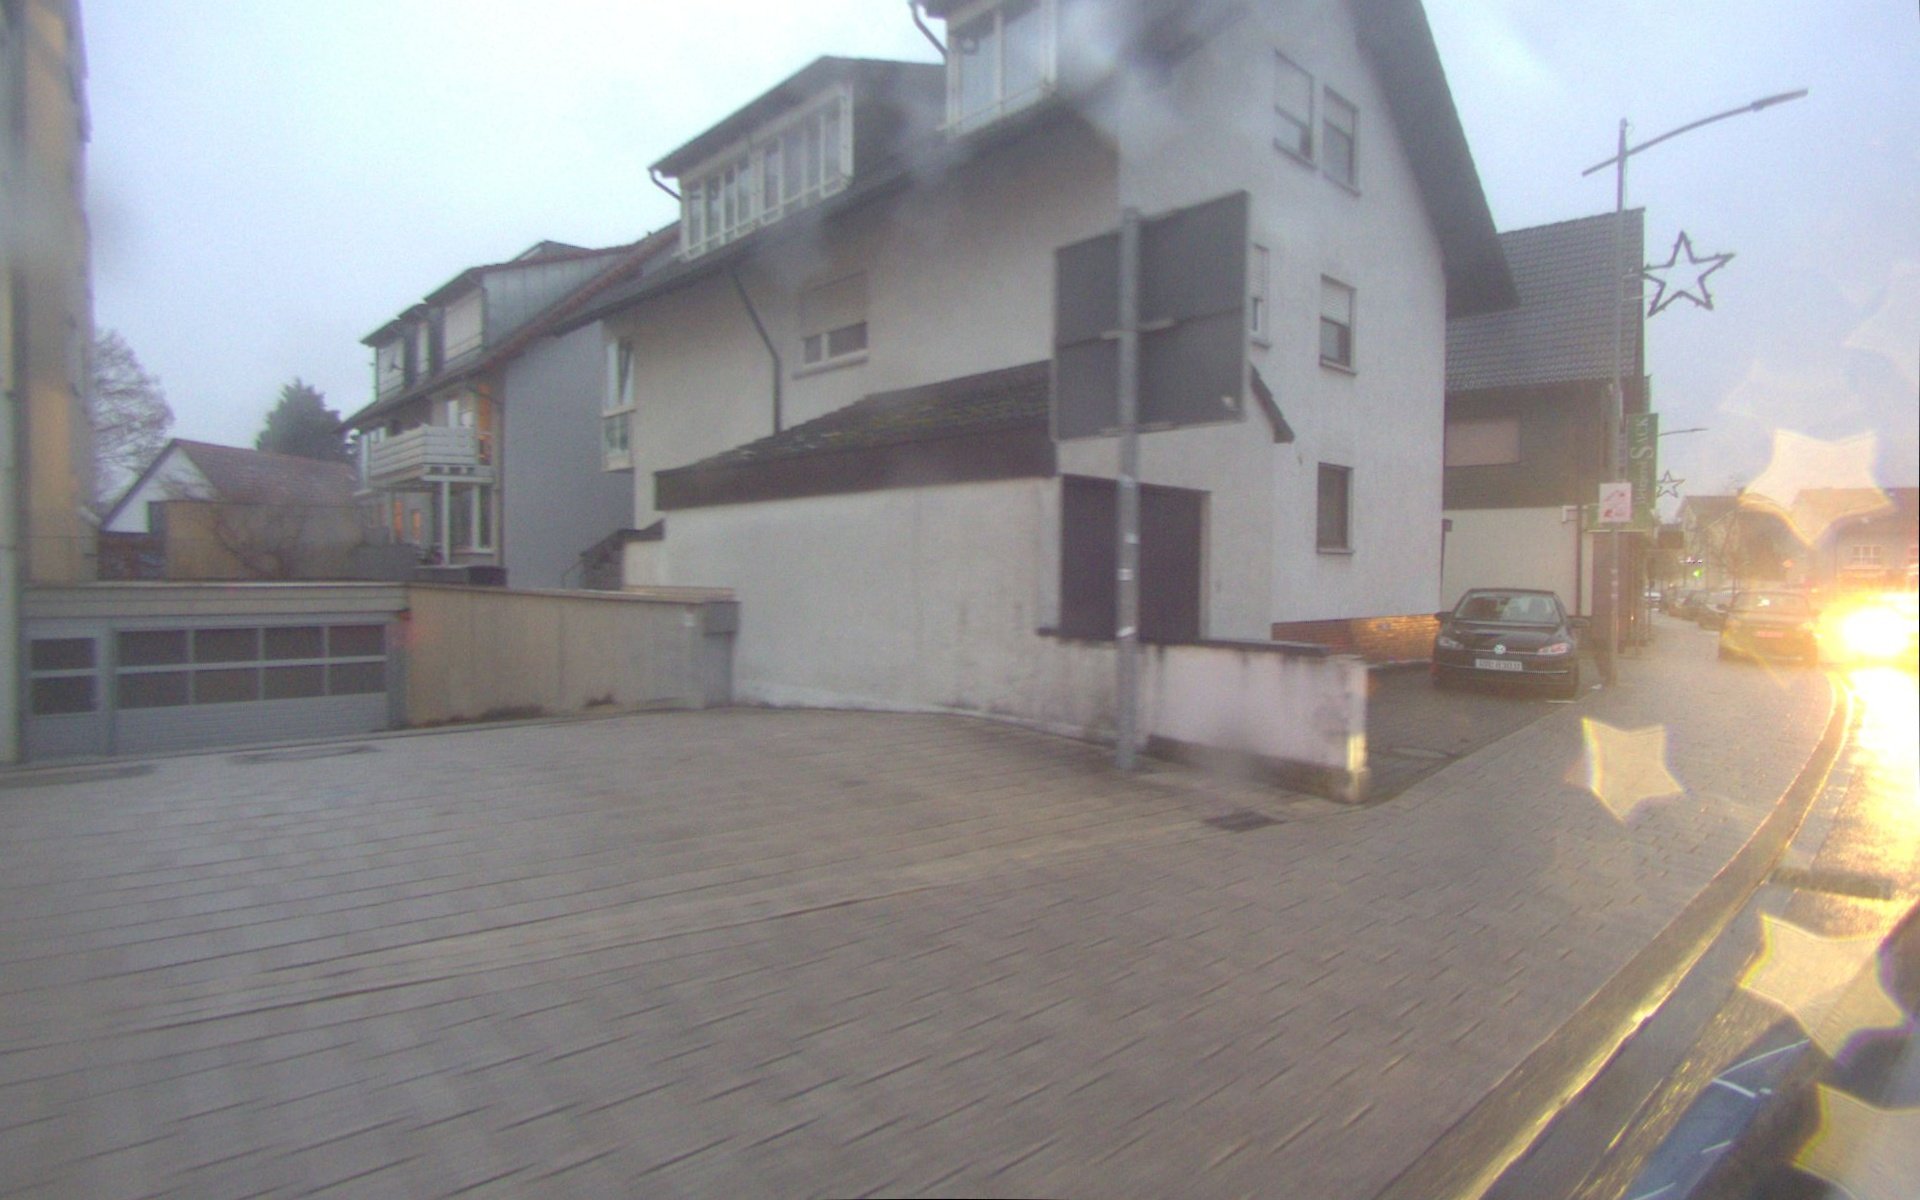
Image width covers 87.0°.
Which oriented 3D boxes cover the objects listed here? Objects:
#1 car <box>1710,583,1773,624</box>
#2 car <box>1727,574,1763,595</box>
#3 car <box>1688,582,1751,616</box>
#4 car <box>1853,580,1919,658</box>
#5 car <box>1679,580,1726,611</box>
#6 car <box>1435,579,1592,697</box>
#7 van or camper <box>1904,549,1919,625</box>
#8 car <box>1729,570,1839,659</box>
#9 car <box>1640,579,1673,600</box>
[{"bbox_3d":[31.915,0.094,41.415,1.647,1.472,4.187,4,3,34],"label":"car"},{"bbox_3d":[62.868,-1.258,81.111,1.652,1.656,3.517,1,1,27],"label":"car"},{"bbox_3d":[37.658,-0.061,50.279,1.947,1.552,4.954,-1,0,31],"label":"car"},{"bbox_3d":[22.003,0.423,23.168,1.896,1.661,4.505,-1,-2,36],"label":"car"},{"bbox_3d":[41.111,-0.277,56.127,1.657,1.595,4.447,2,2,31],"label":"car"},{"bbox_3d":[8.258,0.441,14.972,1.758,1.410,3.870,4,3,32],"label":"car"},{"bbox_3d":[34.549,-0.430,34.594,2.233,2.702,6.475,2,2,34],"label":"van or camper"},{"bbox_3d":[19.393,0.275,23.768,1.769,1.803,3.941,5,4,41],"label":"car"},{"bbox_3d":[55.108,-0.873,80.103,1.798,1.583,4.259,2,2,30],"label":"car"}]
